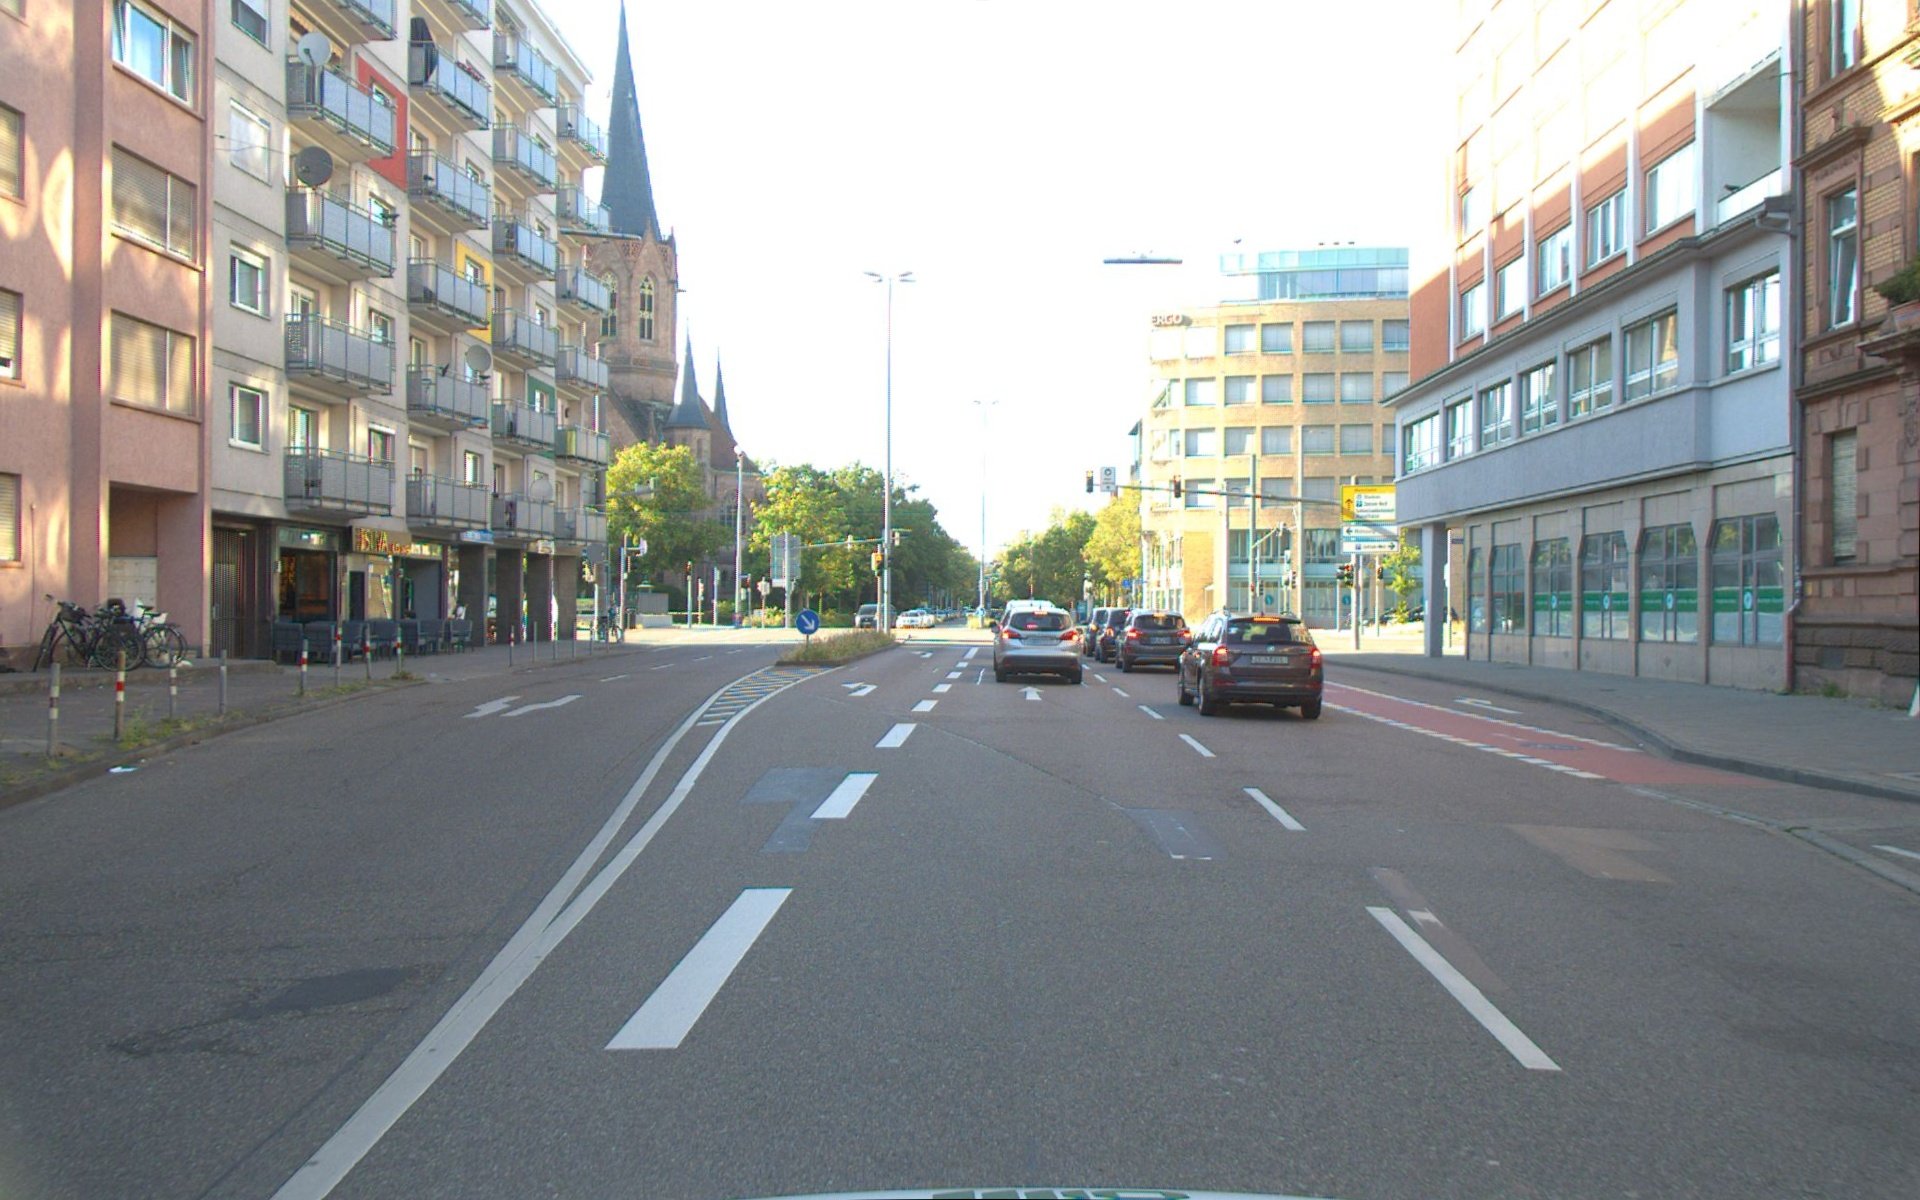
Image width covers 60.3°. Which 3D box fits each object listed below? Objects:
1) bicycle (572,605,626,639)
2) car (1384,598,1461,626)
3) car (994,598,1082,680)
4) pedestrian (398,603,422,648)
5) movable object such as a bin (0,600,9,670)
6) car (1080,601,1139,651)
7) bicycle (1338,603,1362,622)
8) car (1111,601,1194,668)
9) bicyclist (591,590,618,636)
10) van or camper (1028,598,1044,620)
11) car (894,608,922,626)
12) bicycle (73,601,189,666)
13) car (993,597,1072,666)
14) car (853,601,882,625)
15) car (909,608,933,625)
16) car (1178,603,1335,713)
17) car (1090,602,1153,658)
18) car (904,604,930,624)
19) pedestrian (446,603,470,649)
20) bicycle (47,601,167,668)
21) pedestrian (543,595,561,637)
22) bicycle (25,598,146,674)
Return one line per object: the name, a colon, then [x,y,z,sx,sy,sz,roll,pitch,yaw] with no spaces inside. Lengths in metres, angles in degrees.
bicycle: [-13.101,0.793,60.120,1.790,1.209,0.734,0,0,0]
car: [28.101,0.728,100.606,4.140,1.643,2.001,0,0,3]
car: [1.552,0.753,34.150,1.672,1.536,4.309,1,0,1]
pedestrian: [-15.273,0.709,45.938,0.516,1.224,0.547,0,0,-30]
movable object such as a bin: [-14.803,0.526,24.875,0.661,1.050,0.589,0,0,1]
car: [4.676,0.805,52.075,1.552,1.472,3.648,2,0,1]
bicycle: [25.013,0.805,106.044,1.487,1.193,0.475,0,0,8]
car: [4.657,0.811,40.538,1.616,1.510,4.240,1,0,1]
bicyclist: [-13.076,0.474,60.817,0.766,1.689,0.901,0,0,2]
van or camper: [9.123,1.068,198.125,1.952,2.687,5.352,0,0,3]
car: [-3.683,1.185,118.729,1.743,1.258,4.001,0,0,2]
bicycle: [-14.095,0.571,28.145,1.641,1.059,0.547,2,-1,-14]
car: [1.715,0.722,39.855,1.766,1.596,3.618,0,0,0]
car: [-6.636,0.922,119.347,1.743,1.676,4.001,0,0,2]
car: [-3.102,1.310,132.559,1.743,1.258,4.001,0,0,2]
car: [4.304,0.792,24.571,1.672,1.483,4.159,0,0,1]
car: [4.524,0.816,46.592,1.458,1.532,3.479,0,0,0]
car: [-3.241,1.072,125.296,1.743,1.490,4.001,0,0,2]
pedestrian: [-15.315,0.793,50.459,0.473,1.408,0.481,0,-1,21]
bicycle: [-14.075,0.562,27.316,1.637,1.059,0.549,1,-1,-6]
pedestrian: [-16.388,0.635,66.430,0.458,1.670,0.576,0,0,21]
bicycle: [-13.997,0.579,26.508,1.648,1.180,0.492,2,-1,-25]
